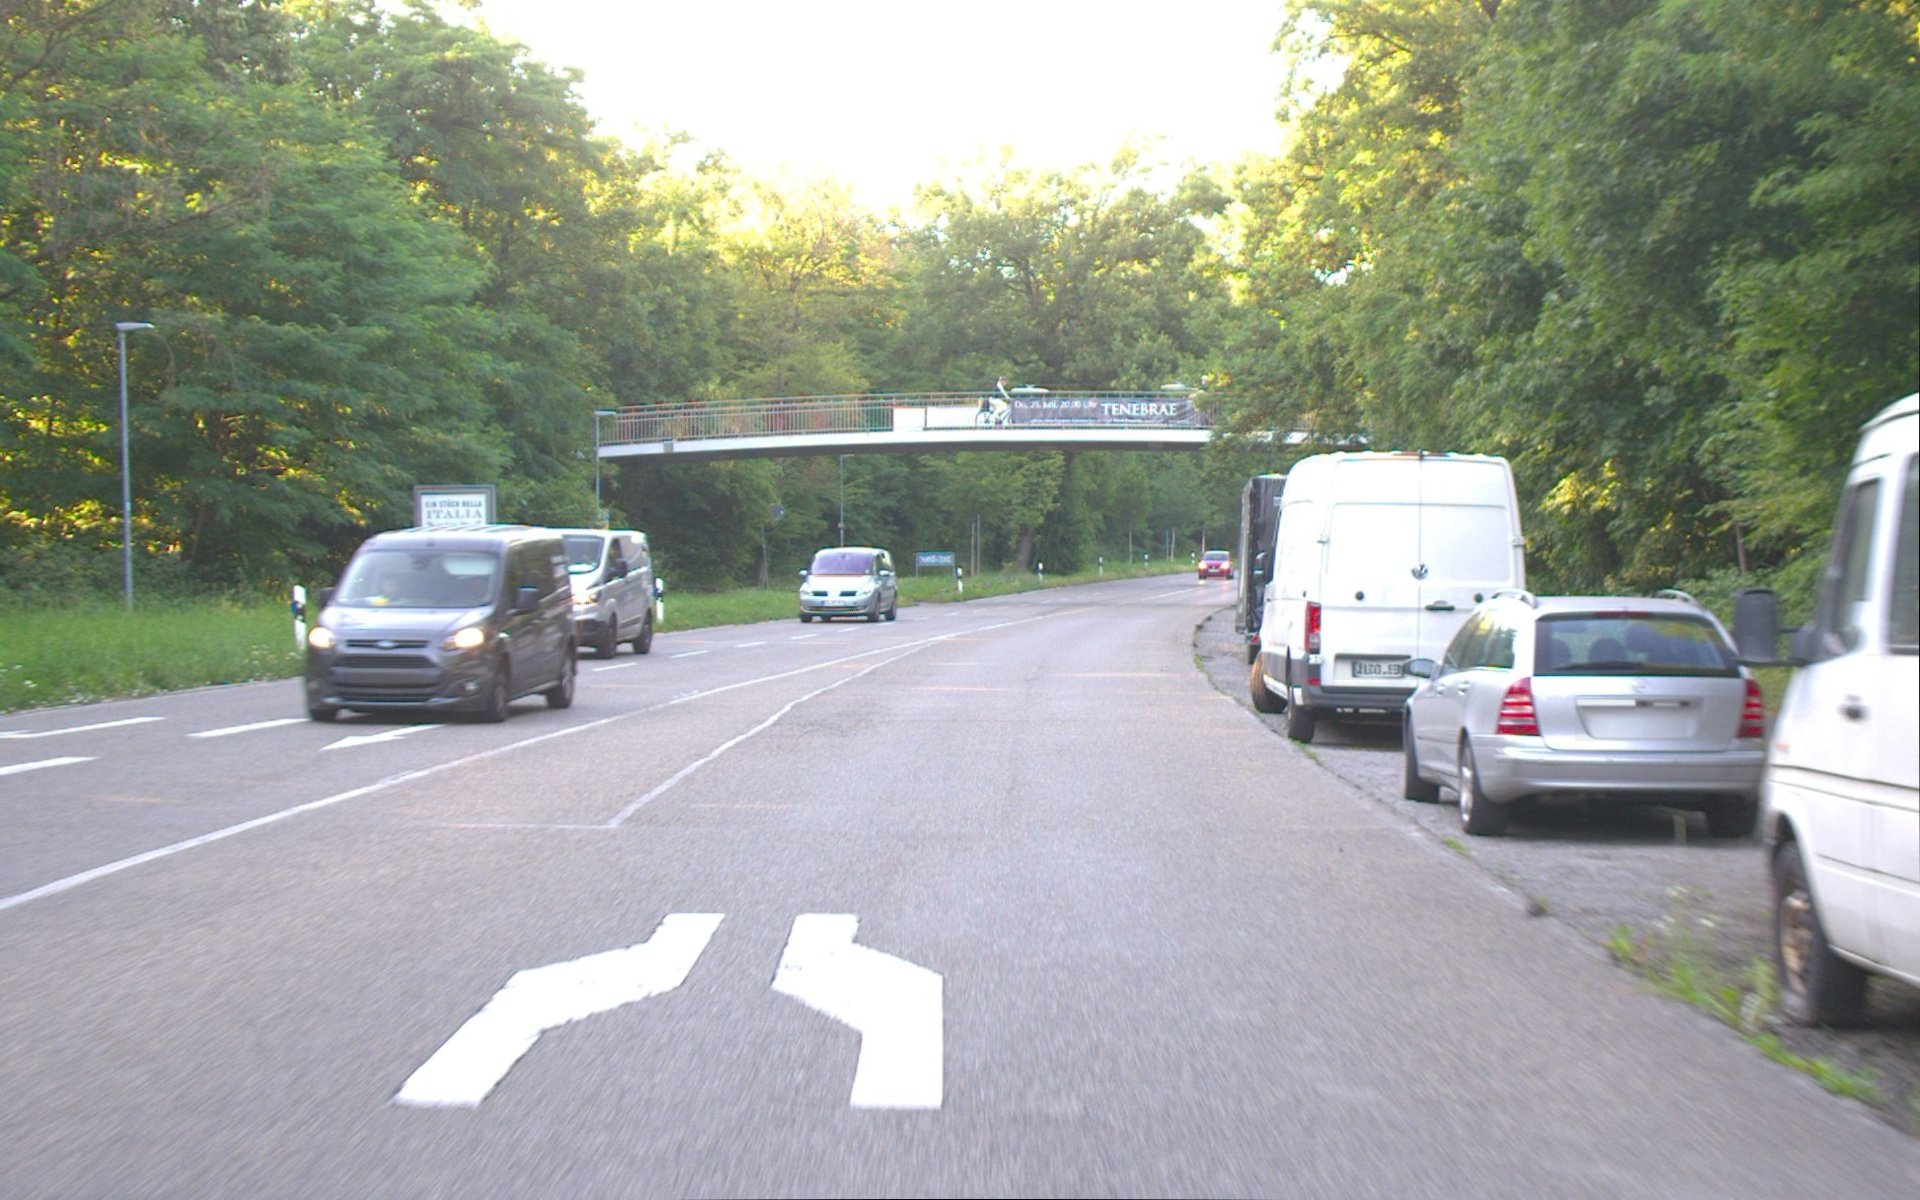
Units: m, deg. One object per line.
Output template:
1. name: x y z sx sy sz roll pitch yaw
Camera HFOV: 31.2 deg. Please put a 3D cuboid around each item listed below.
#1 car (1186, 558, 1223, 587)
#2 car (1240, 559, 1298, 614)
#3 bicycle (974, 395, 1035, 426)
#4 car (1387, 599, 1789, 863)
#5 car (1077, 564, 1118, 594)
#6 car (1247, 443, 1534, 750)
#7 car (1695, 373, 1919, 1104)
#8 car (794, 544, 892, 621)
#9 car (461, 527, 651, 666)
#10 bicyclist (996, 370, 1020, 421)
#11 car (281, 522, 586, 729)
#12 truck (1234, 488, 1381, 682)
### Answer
1. car: 12.772 -1.447 179.591 1.892 1.442 4.109 0 1 4
2. car: 8.683 -0.386 96.785 1.516 1.503 3.336 1 1 4
3. bicycle: 1.379 -5.920 107.430 1.845 0.946 0.550 1 0 7
4. car: 3.789 0.736 21.439 1.683 1.368 4.270 2 1 0
5. car: 6.838 -1.062 170.670 1.892 1.442 4.109 0 1 4
6. car: 3.875 -0.061 31.946 1.964 2.503 6.015 2 1 1
7. car: 3.880 0.432 10.842 1.993 2.182 4.928 2 1 0
8. car: -2.726 -0.414 80.589 1.844 1.729 3.999 1 1 4
9. car: -6.001 -0.077 51.522 1.994 1.919 4.380 2 1 4
10. bicyclist: 1.507 -6.386 107.413 0.665 1.576 0.547 1 0 7
11. car: -4.927 0.206 32.832 1.844 1.794 4.747 1 1 4
12. truck: 5.196 -0.248 52.131 1.994 2.708 6.615 1 1 4
